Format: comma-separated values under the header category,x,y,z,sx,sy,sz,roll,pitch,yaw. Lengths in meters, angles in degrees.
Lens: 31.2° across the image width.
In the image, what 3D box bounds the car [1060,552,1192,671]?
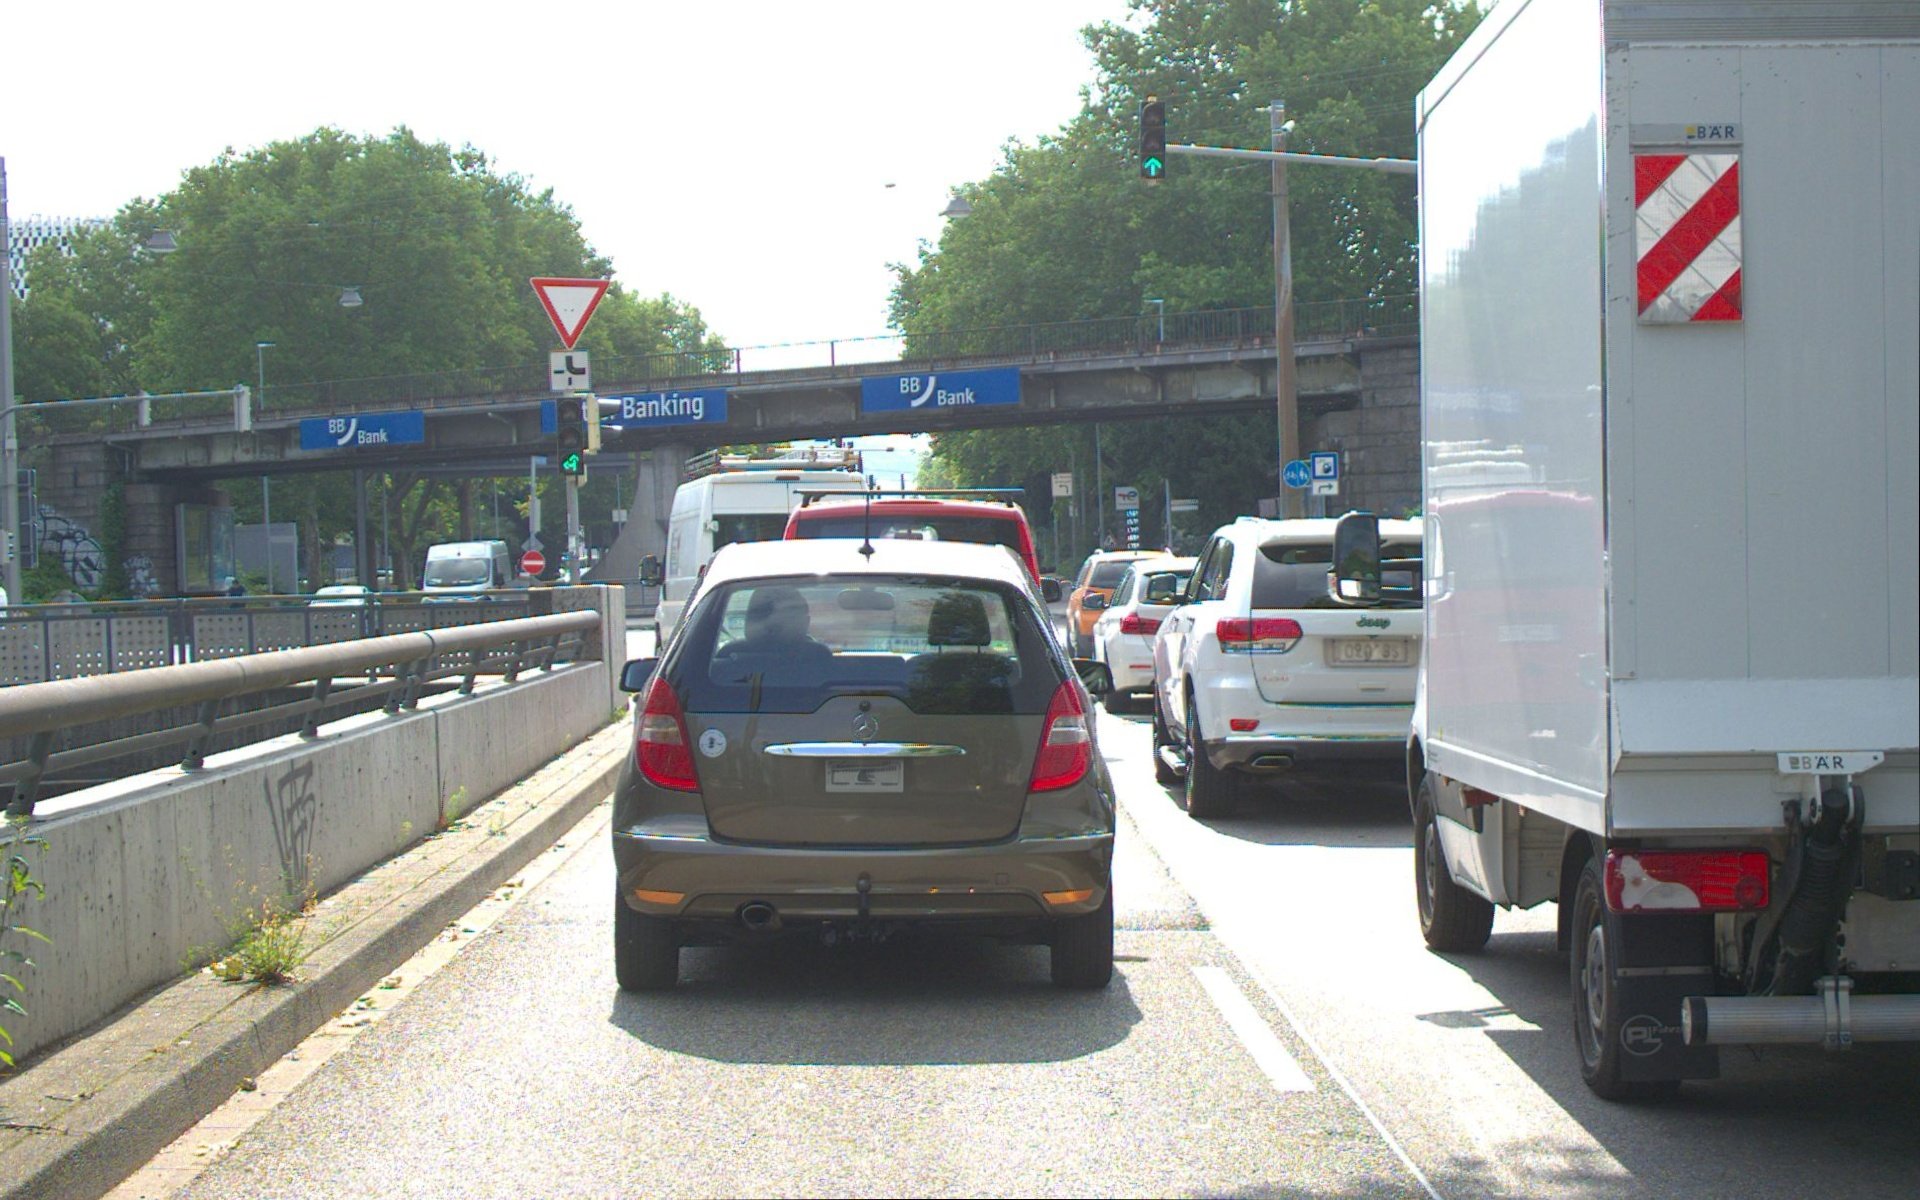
category,x,y,z,sx,sy,sz,roll,pitch,yaw
car,2.185,0.152,45.888,1.544,1.516,3.617,0,0,-1

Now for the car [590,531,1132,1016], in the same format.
category,x,y,z,sx,sy,sz,roll,pitch,yaw
car,-0.348,0.544,13.297,1.792,1.603,3.799,0,1,-1

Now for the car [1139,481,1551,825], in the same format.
category,x,y,z,sx,sy,sz,roll,pitch,yaw
car,2.250,0.300,21.277,1.995,1.895,4.509,0,0,-1

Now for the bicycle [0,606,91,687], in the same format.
category,x,y,z,sx,sy,sz,roll,pitch,yaw
bicycle,-10.086,0.484,35.696,1.972,0.823,0.612,0,1,3

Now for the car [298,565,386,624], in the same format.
category,x,y,z,sx,sy,sz,roll,pitch,yaw
car,-16.877,-0.165,94.020,1.702,1.471,4.000,-4,1,-2

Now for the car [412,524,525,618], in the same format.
category,x,y,z,sx,sy,sz,roll,pitch,yaw
car,-13.754,-0.822,96.512,2.258,2.518,5.626,-1,1,1

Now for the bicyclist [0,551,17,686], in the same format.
category,x,y,z,sx,sy,sz,roll,pitch,yaw
bicyclist,-10.165,0.193,35.693,0.510,1.399,0.626,-1,1,4

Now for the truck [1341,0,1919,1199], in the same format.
category,x,y,z,sx,sy,sz,roll,pitch,yaw
truck,2.720,-0.184,10.846,2.447,3.110,6.028,0,0,1

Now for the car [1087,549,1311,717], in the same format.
category,x,y,z,sx,sy,sz,roll,pitch,yaw
car,2.235,0.308,32.996,1.852,1.516,3.617,0,0,-1

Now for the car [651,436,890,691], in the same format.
category,x,y,z,sx,sy,sz,roll,pitch,yaw
car,-2.241,-0.379,39.300,2.197,2.717,4.932,0,0,-9

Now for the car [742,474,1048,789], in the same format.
category,x,y,z,sx,sy,sz,roll,pitch,yaw
car,-0.441,0.179,24.343,1.955,2.010,4.677,0,1,-1
